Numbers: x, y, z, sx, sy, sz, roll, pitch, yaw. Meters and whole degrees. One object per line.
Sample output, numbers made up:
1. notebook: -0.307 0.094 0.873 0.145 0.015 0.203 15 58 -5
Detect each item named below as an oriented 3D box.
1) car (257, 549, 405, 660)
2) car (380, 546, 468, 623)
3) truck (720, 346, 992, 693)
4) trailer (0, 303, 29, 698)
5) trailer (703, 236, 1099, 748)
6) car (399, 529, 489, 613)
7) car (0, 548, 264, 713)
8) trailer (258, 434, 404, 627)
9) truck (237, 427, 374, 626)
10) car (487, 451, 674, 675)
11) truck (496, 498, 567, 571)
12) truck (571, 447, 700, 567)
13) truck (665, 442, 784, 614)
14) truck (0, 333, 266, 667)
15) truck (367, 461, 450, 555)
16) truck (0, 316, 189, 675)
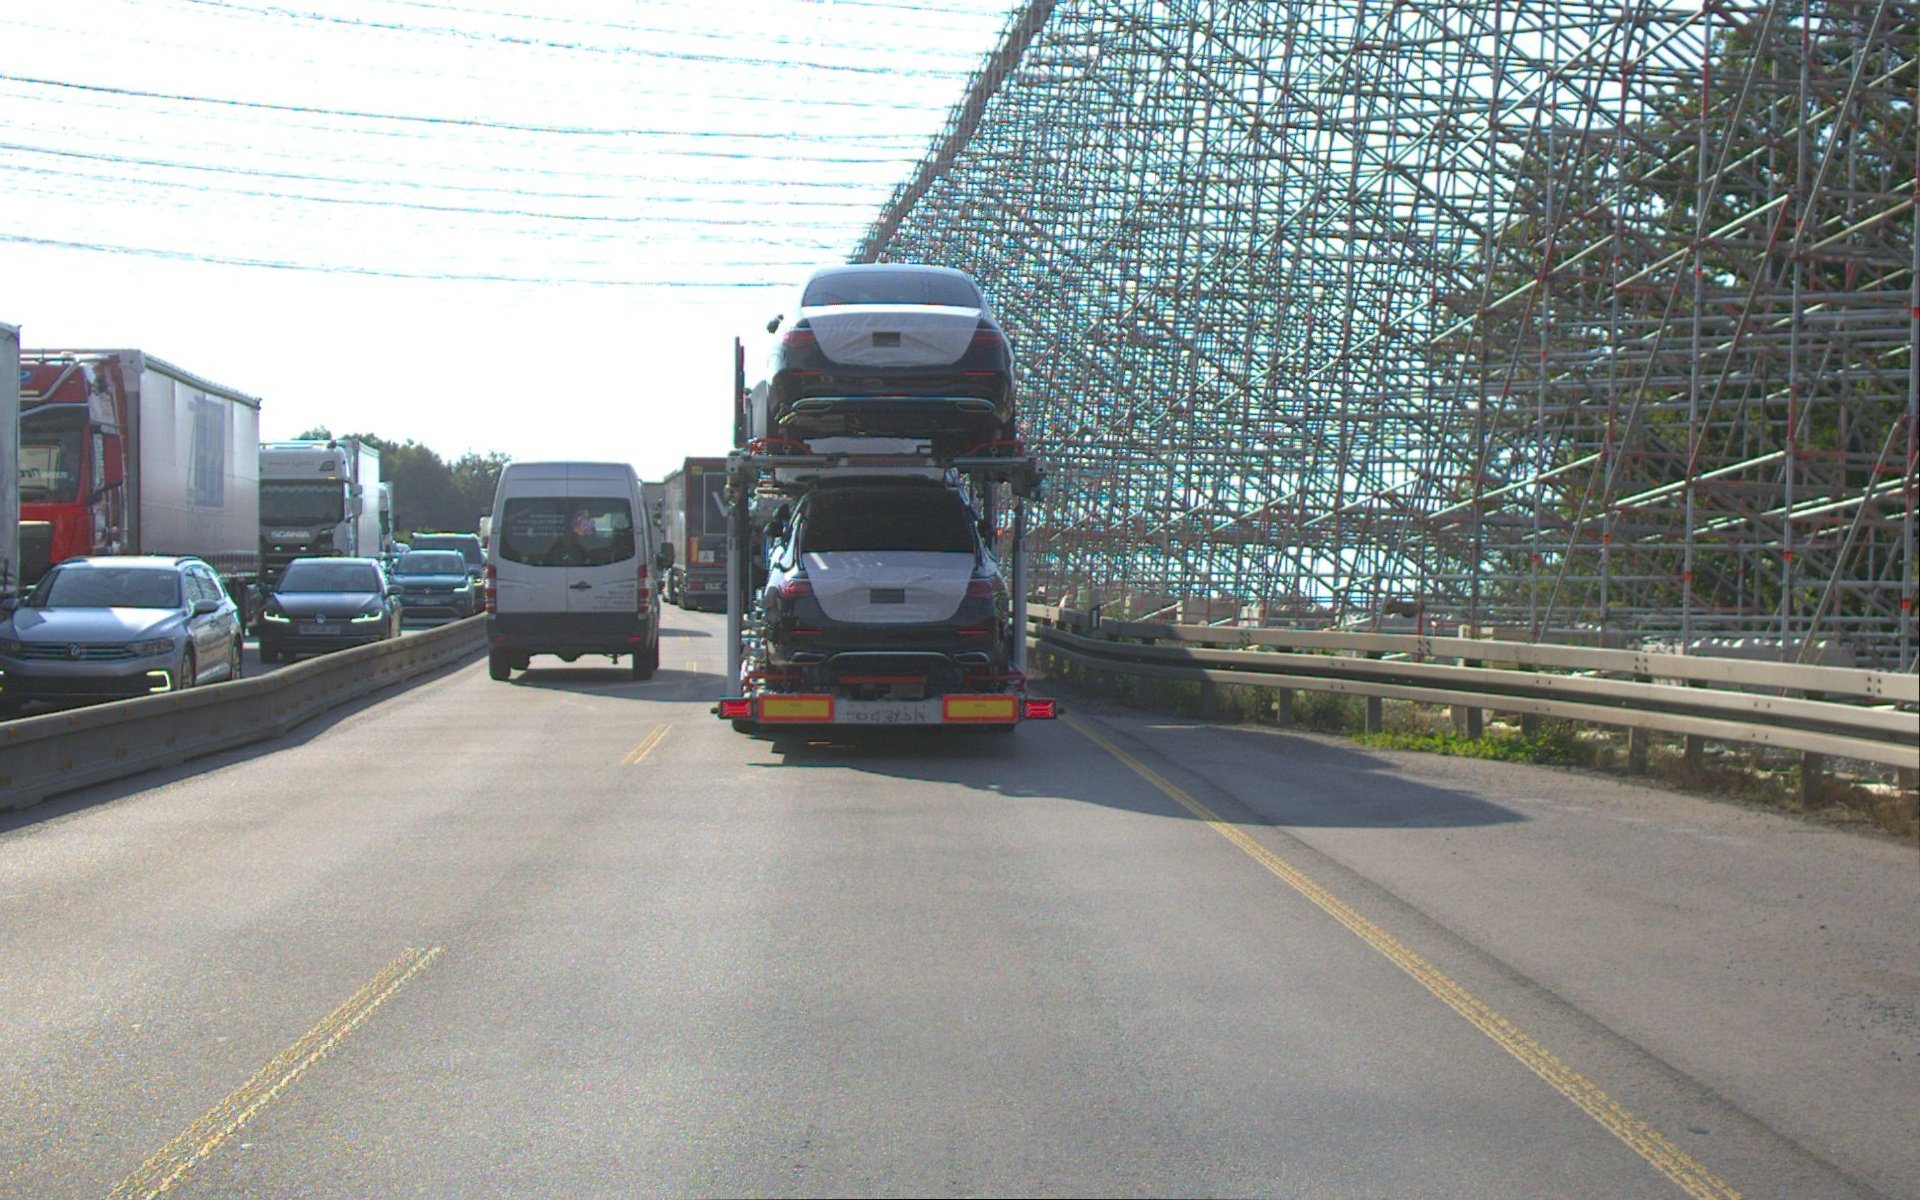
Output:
1. car: -8.838 0.034 48.577 1.650 1.459 4.401 1 1 -5
2. car: -11.209 -0.353 72.044 1.742 1.529 4.268 1 1 -8
3. truck: -1.324 -0.880 40.292 2.881 3.690 7.326 0 0 -3
4. trailer: -11.192 -1.003 30.296 2.798 4.127 13.968 0 0 -3
5. trailer: -0.899 -0.832 32.467 2.868 3.712 14.949 0 0 -4
6. car: -12.376 -0.715 82.661 1.874 1.928 4.863 1 1 -6
7. car: -8.083 0.245 33.533 1.732 1.434 4.838 2 1 -2
8. trailer: -15.048 -1.652 83.052 2.653 4.219 13.923 1 1 -7
9. truck: -14.390 -1.588 75.890 2.662 4.215 6.106 0 1 -8
10. car: -4.625 -0.436 42.397 1.956 2.612 4.000 -1 0 -2
11. truck: -22.806 -3.489 182.734 2.615 3.711 9.662 1 1 -13
12. truck: -12.580 -3.474 131.931 3.686 4.206 13.672 -3 1 -10
13. truck: -6.574 -1.964 94.371 2.731 4.370 11.524 1 1 -6
14. truck: -12.110 -1.292 49.465 2.787 4.127 13.810 0 0 -6
15. truck: -21.720 -3.551 134.963 2.594 3.462 12.396 1 1 -12
16. truck: -11.448 -1.232 42.861 2.787 4.127 6.680 0 0 -6
